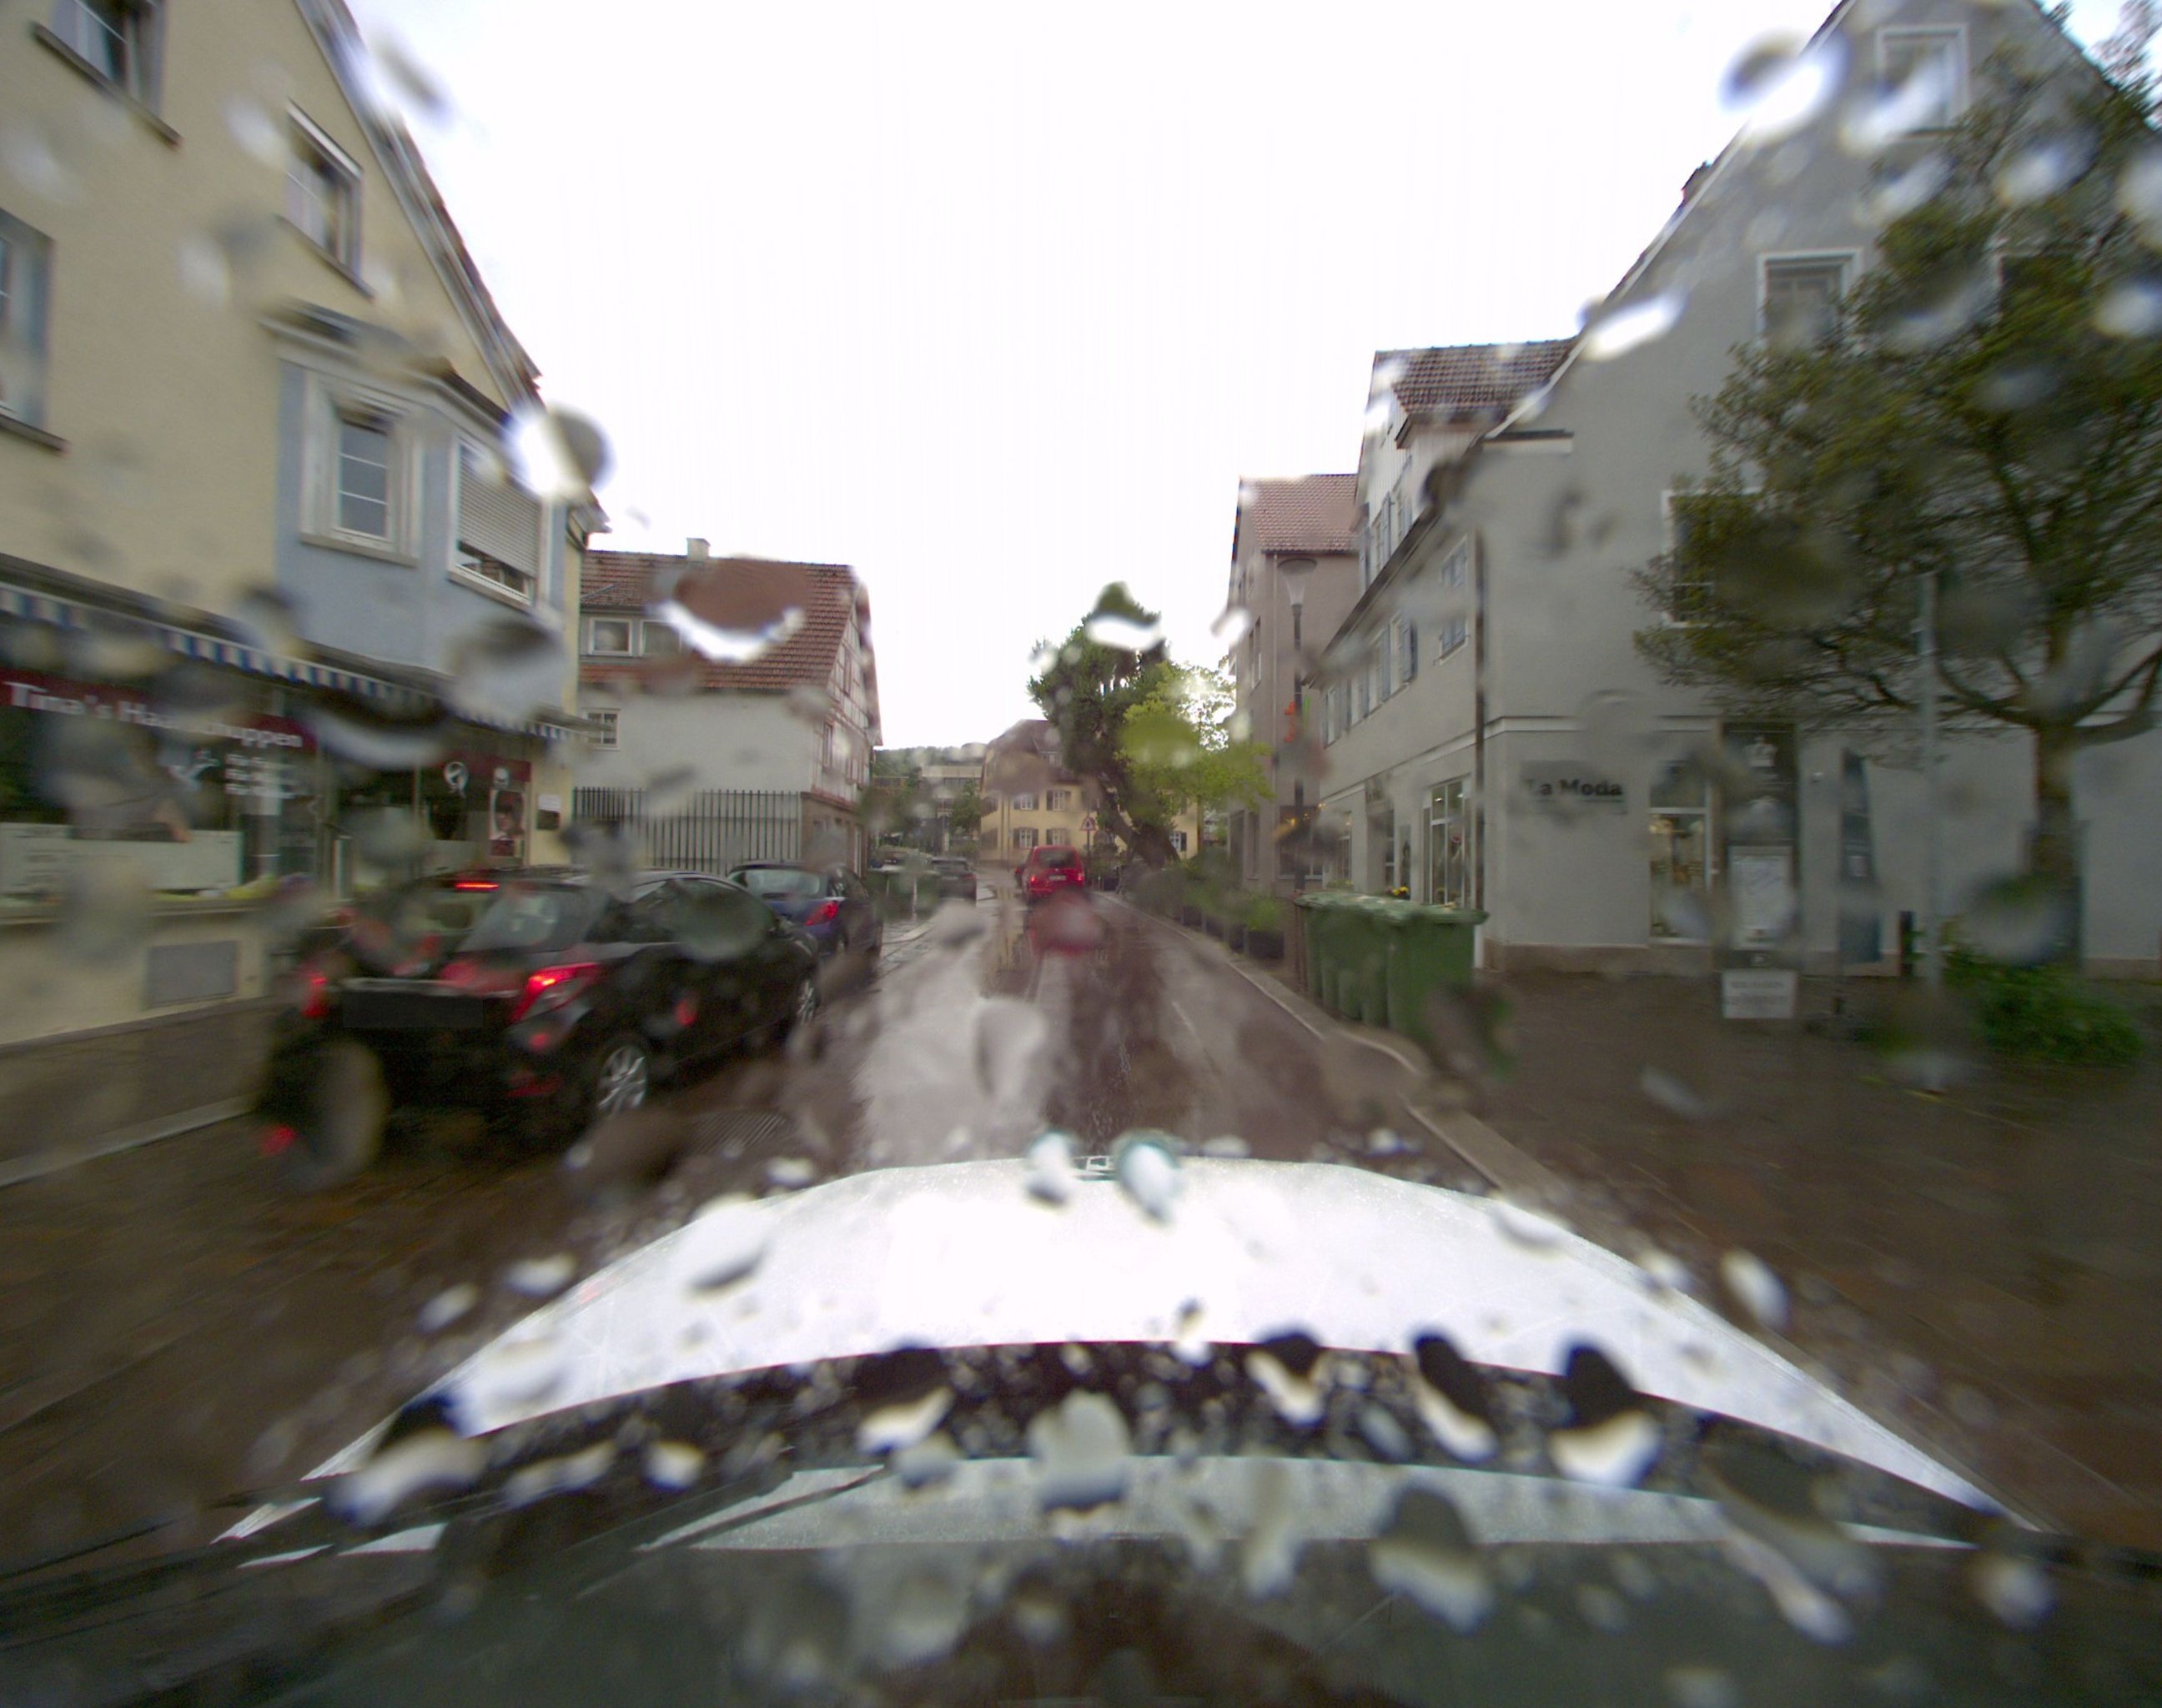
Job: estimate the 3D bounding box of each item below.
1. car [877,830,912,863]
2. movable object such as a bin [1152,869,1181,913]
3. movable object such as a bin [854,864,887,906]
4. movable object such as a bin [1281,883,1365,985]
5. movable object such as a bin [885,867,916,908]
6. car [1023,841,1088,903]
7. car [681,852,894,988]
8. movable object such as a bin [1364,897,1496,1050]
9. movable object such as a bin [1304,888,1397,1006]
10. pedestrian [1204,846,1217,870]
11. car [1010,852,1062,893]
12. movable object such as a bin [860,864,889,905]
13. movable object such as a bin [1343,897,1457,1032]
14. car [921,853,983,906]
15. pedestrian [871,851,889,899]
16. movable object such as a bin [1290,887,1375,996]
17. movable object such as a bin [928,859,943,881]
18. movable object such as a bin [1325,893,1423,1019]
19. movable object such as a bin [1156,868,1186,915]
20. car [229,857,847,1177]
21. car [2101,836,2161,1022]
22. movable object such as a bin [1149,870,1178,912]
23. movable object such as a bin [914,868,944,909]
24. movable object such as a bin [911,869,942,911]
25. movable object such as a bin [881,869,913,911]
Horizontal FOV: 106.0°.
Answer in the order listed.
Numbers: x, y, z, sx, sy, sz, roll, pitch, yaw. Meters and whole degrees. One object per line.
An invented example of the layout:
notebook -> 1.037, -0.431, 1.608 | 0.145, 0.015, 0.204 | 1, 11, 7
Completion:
car -> -16.206, -0.594, 70.577 | 2.305, 2.602, 6.916 | 2, -2, -17
movable object such as a bin -> 2.212, 0.952, 21.180 | 0.630, 1.104, 0.578 | 2, -2, -6
movable object such as a bin -> -5.678, 0.826, 21.979 | 0.725, 1.110, 0.595 | 2, -2, -6
movable object such as a bin -> 2.739, 0.891, 9.279 | 0.751, 1.090, 0.656 | -1, 0, -1
movable object such as a bin -> -5.005, 0.931, 22.646 | 0.725, 1.110, 0.595 | 2, -2, -6
car -> -0.857, 0.508, 26.600 | 1.889, 1.811, 3.997 | 2, 1, -3
car -> -3.776, 0.754, 11.222 | 1.753, 1.474, 3.937 | 2, 1, -5
movable object such as a bin -> 2.676, 0.894, 6.300 | 0.765, 1.079, 0.599 | 1, -2, 3
movable object such as a bin -> 2.668, 0.901, 8.115 | 0.733, 1.098, 0.611 | 1, -2, 2
pedestrian -> 10.329, 0.308, 65.182 | 0.895, 1.842, 0.766 | 2, -2, 0
car -> -2.052, 0.876, 38.169 | 1.985, 1.799, 4.002 | 1, -2, 3
movable object such as a bin -> -5.719, 0.851, 22.595 | 0.659, 1.110, 0.614 | 2, -2, -6
movable object such as a bin -> 2.698, 0.915, 6.940 | 0.751, 1.064, 0.600 | 1, -2, 3
car -> -4.244, 0.757, 26.327 | 1.788, 1.495, 3.985 | 2, 0, -11
pedestrian -> -7.431, 0.776, 30.130 | 0.517, 1.711, 0.577 | 2, -2, -5
movable object such as a bin -> 2.680, 0.911, 8.719 | 0.733, 1.098, 0.611 | 1, -2, 2
movable object such as a bin -> -7.450, 0.801, 41.639 | 0.714, 1.106, 0.598 | 2, -2, -8
movable object such as a bin -> 2.693, 0.920, 7.523 | 0.726, 1.091, 0.521 | 1, -2, 3
movable object such as a bin -> 2.262, 0.936, 20.598 | 0.630, 1.150, 0.578 | 2, -2, -6
car -> -3.207, 0.790, 5.893 | 1.685, 1.443, 3.887 | 2, 1, 3
car -> 9.565, 0.654, 5.849 | 1.864, 1.599, 4.419 | 0, 0, 39
movable object such as a bin -> 2.247, 1.006, 22.233 | 0.675, 1.103, 0.579 | 2, -2, -2
movable object such as a bin -> -4.238, 0.967, 22.780 | 0.725, 1.110, 0.643 | 2, -2, -6
movable object such as a bin -> -4.185, 0.976, 22.131 | 0.725, 1.110, 0.595 | 2, -2, -6
movable object such as a bin -> -4.969, 0.973, 21.994 | 0.725, 1.110, 0.595 | 2, -2, -6
